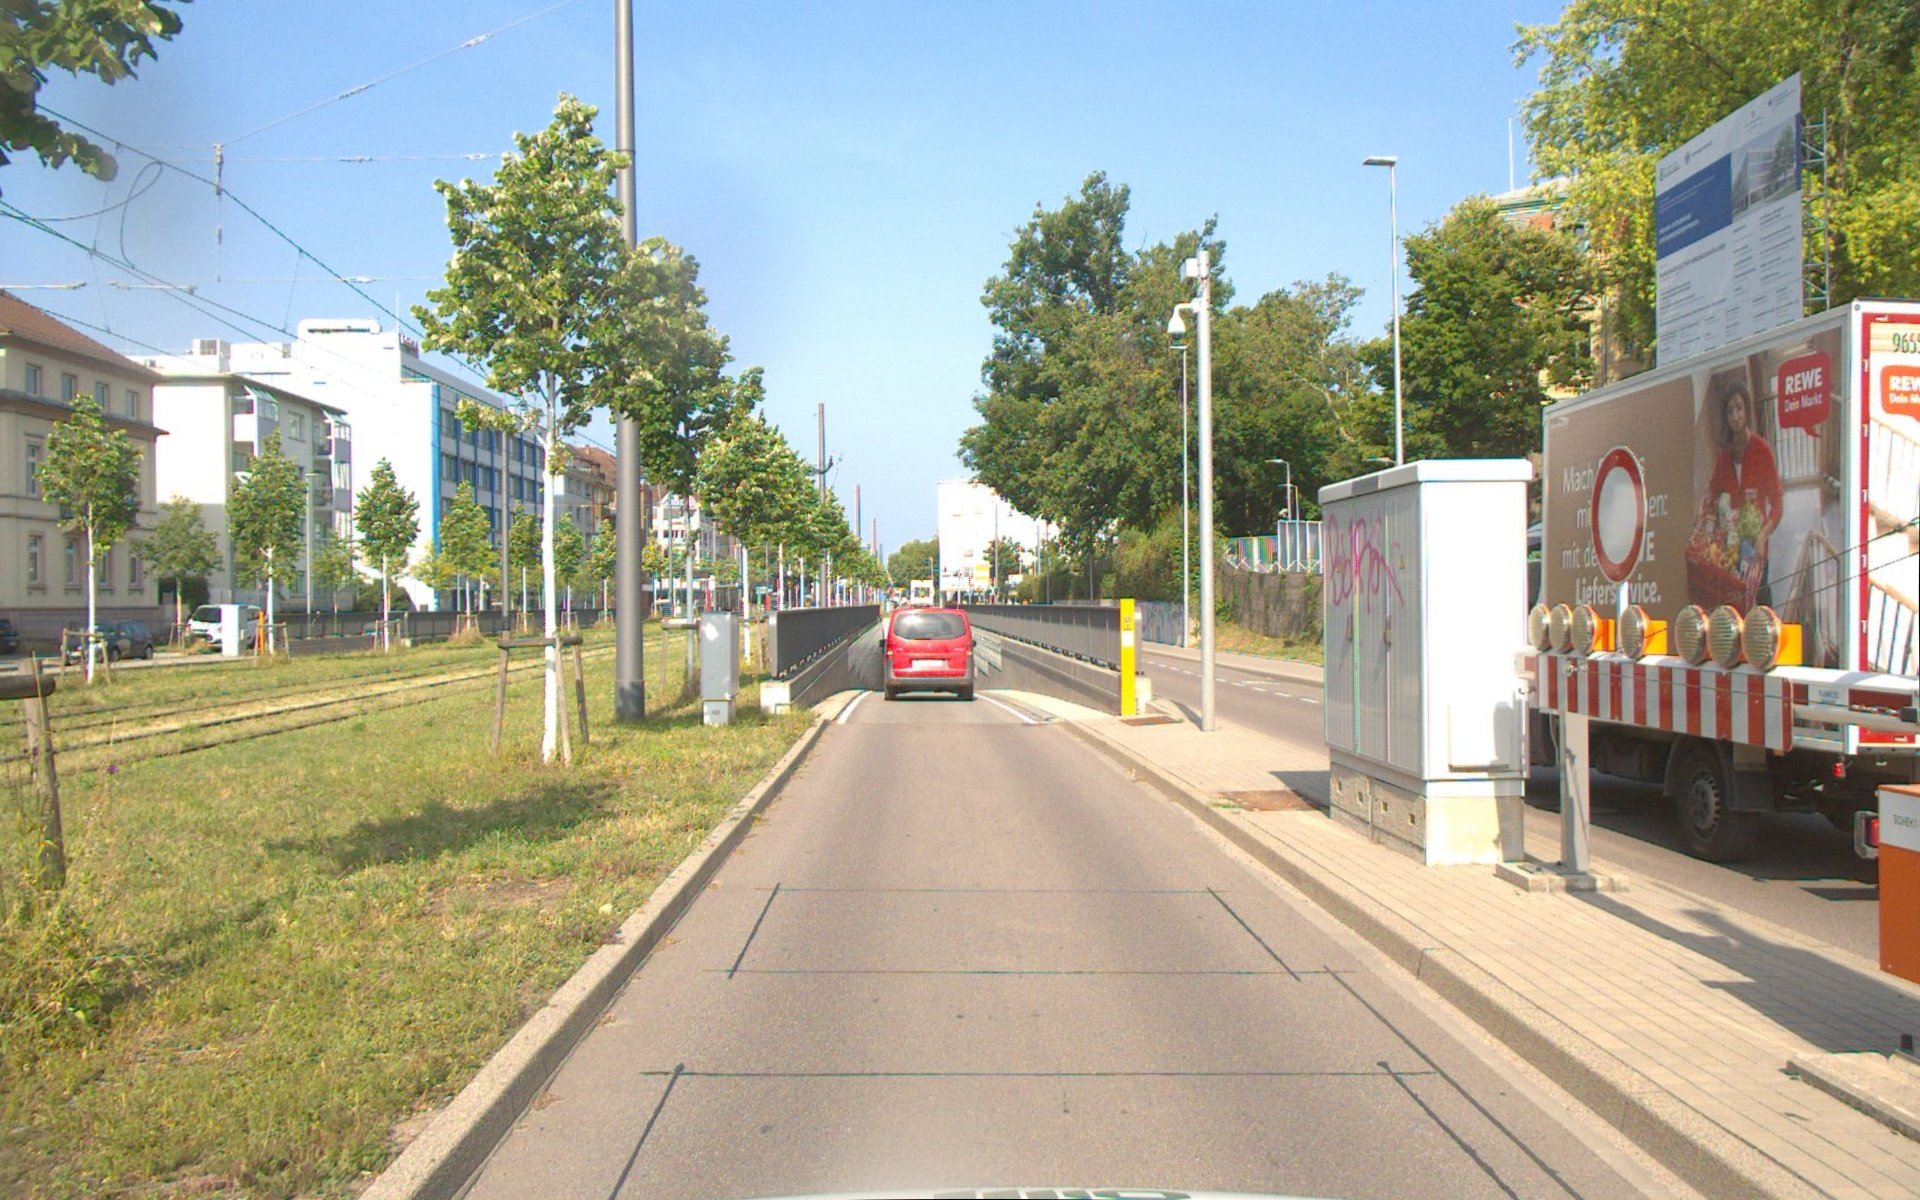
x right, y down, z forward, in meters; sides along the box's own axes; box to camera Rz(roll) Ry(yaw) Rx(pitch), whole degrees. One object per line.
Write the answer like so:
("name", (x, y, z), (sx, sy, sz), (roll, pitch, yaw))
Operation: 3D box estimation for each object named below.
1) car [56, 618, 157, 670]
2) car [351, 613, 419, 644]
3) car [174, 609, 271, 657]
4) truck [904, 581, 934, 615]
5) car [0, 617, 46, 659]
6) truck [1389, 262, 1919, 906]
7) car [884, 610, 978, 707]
("car", (-28.187, 1.433, 54.745), (1.488, 1.489, 3.823), (-1, 1, -3))
("car", (-29.073, 1.480, 83.734), (1.953, 1.492, 4.436), (-1, -2, -1))
("car", (-33.223, 1.505, 74.662), (2.204, 2.049, 5.259), (1, -2, -3))
("truck", (-4.844, -0.199, 194.780), (3.323, 3.791, 10.446), (-1, 0, -2))
("car", (-37.612, 1.484, 63.642), (3.910, 1.579, 1.652), (-1, 0, -6))
("truck", (5.485, -0.026, 11.971), (2.452, 3.114, 7.816), (1, -1, -2))
("car", (-0.584, 1.174, 35.128), (1.862, 1.892, 4.000), (1, 0, 0))
